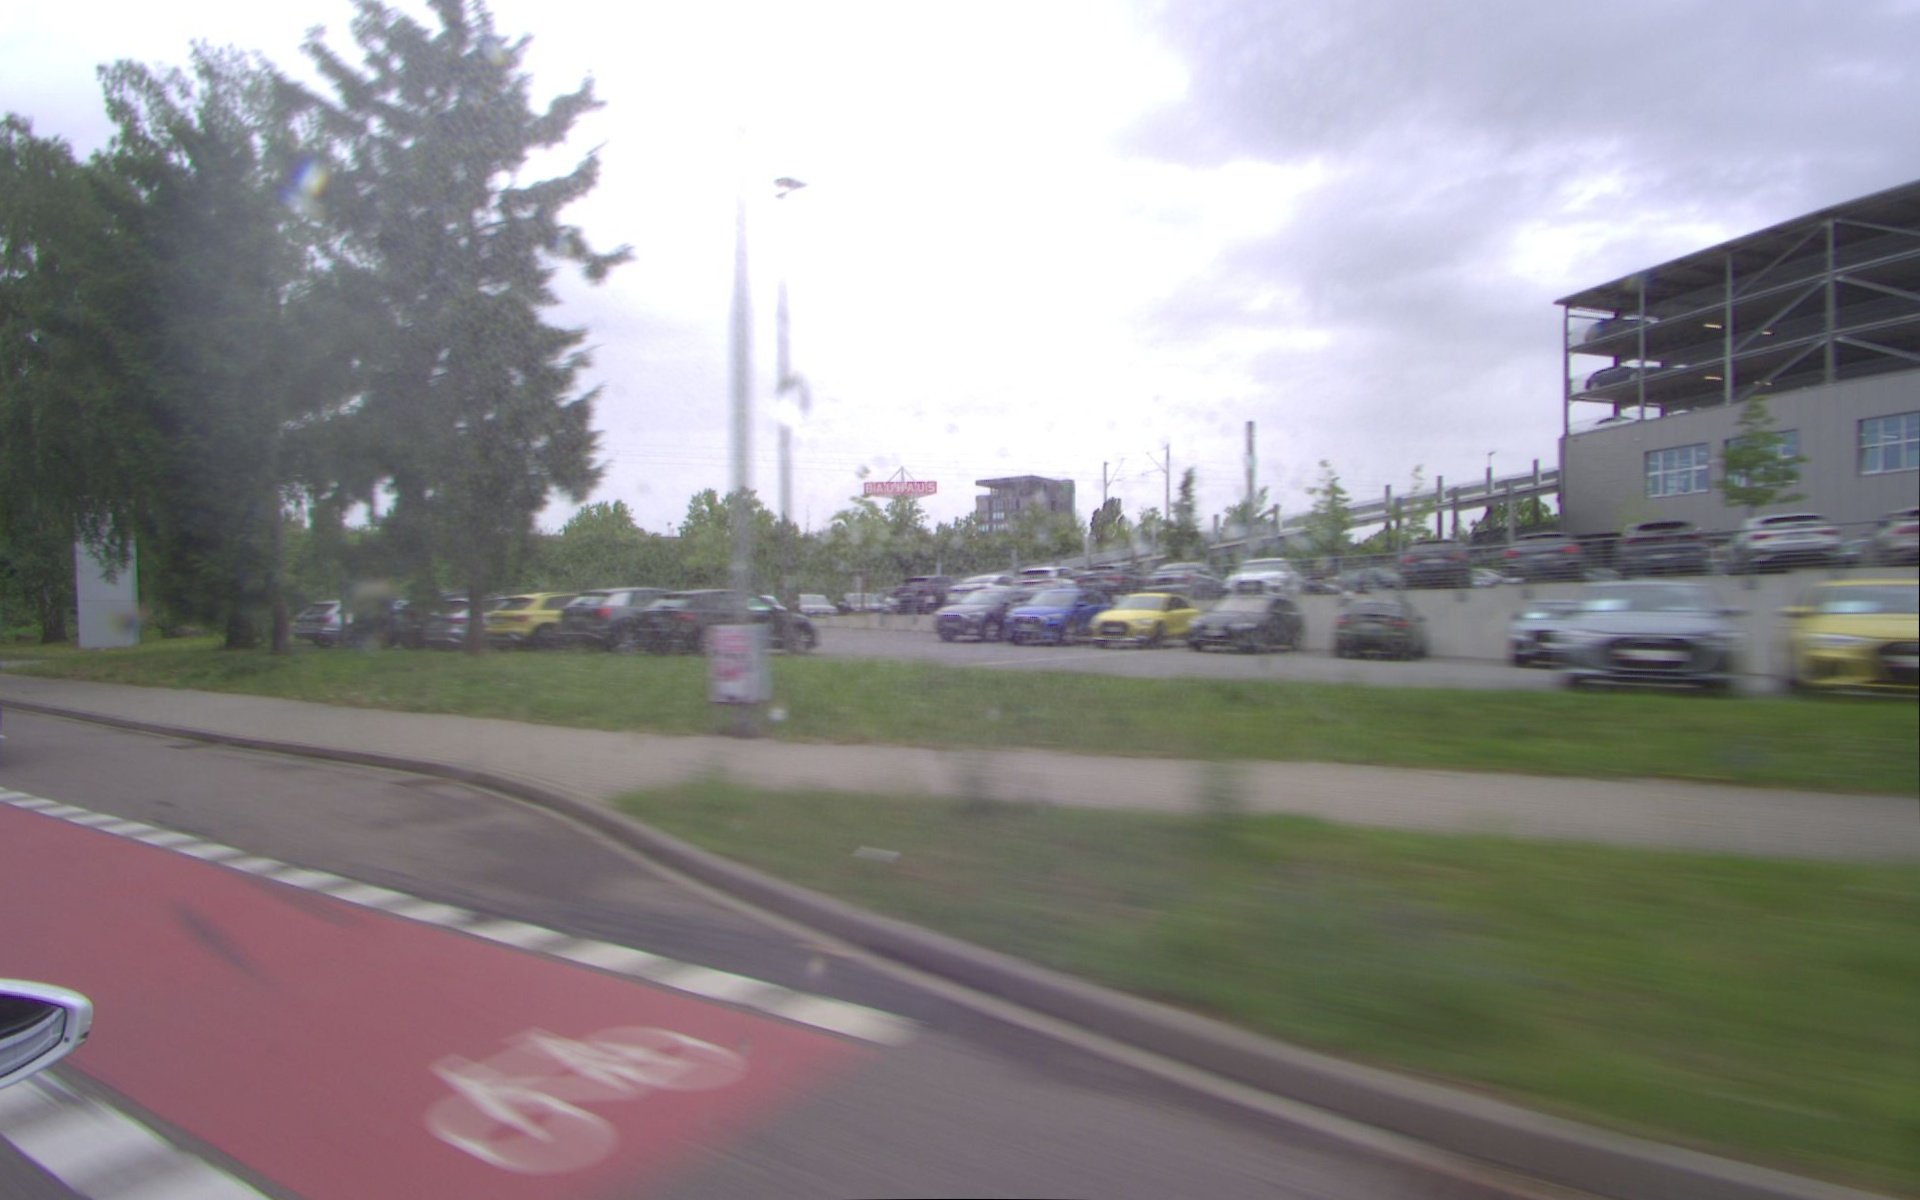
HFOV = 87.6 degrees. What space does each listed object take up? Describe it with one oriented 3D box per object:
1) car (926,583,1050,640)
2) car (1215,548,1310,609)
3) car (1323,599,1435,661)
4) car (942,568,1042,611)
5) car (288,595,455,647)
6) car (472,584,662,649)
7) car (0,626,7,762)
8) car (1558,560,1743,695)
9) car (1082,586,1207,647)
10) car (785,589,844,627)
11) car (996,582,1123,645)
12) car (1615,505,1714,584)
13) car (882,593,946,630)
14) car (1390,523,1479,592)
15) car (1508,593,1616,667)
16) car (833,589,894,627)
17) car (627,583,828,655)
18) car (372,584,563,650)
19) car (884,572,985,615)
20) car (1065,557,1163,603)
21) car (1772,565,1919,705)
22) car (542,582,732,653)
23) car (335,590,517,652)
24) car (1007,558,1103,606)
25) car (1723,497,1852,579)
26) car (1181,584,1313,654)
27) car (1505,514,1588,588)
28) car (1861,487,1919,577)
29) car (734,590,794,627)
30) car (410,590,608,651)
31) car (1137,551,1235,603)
[{"bbox_3d":[0.954,0.341,30.895,1.875,1.622,4.288,1,1,33],"label":"car"},{"bbox_3d":[9.579,-0.607,31.455,1.806,1.554,4.292,0,-3,32],"label":"car"},{"bbox_3d":[10.318,0.676,24.482,1.874,1.346,4.290,1,0,31],"label":"car"},{"bbox_3d":[1.254,-0.341,37.257,1.806,1.306,4.292,0,-3,32],"label":"car"},{"bbox_3d":[-18.427,0.656,31.582,1.713,1.509,4.294,0,-1,28],"label":"car"},{"bbox_3d":[-9.482,0.454,24.447,1.786,1.396,3.985,0,-3,36],"label":"car"},{"bbox_3d":[-12.171,1.007,11.210,3.727,1.450,1.673,-1,-1,38],"label":"car"},{"bbox_3d":[8.867,0.412,12.995,1.715,1.449,4.181,0,-3,34],"label":"car"},{"bbox_3d":[5.130,0.469,27.403,1.875,1.526,4.289,0,-1,33],"label":"car"},{"bbox_3d":[-7.195,0.446,49.167,1.937,1.673,4.301,2,-3,-21],"label":"car"},{"bbox_3d":[2.956,0.371,28.969,1.875,1.648,4.288,2,1,33],"label":"car"},{"bbox_3d":[17.864,-1.322,25.549,1.806,1.530,4.292,0,-3,32],"label":"car"},{"bbox_3d":[-2.387,0.608,50.686,1.937,1.682,4.301,2,-3,-21],"label":"car"},{"bbox_3d":[13.629,-1.127,28.624,1.832,1.546,4.292,0,-3,32],"label":"car"},{"bbox_3d":[13.413,0.716,22.209,1.876,1.477,3.899,0,-3,34],"label":"car"},{"bbox_3d":[-4.841,0.451,49.702,1.937,1.711,4.301,2,-3,-21],"label":"car"},{"bbox_3d":[-4.901,0.460,21.583,1.876,1.370,3.983,0,-3,35],"label":"car"},{"bbox_3d":[-13.426,0.525,27.546,1.943,1.621,4.288,0,-3,35],"label":"car"},{"bbox_3d":[-0.900,-0.204,38.399,1.806,1.391,4.292,0,-3,32],"label":"car"},{"bbox_3d":[5.352,-0.631,34.354,1.806,1.263,4.292,0,-3,32],"label":"car"},{"bbox_3d":[10.757,0.454,11.597,1.771,1.394,4.038,0,-3,34],"label":"car"},{"bbox_3d":[-7.256,0.447,22.789,1.925,1.441,3.746,0,-3,33],"label":"car"},{"bbox_3d":[-15.537,0.667,29.366,1.941,1.621,4.292,0,-3,32],"label":"car"},{"bbox_3d":[3.463,-0.593,35.842,1.675,1.399,4.292,0,-3,32],"label":"car"},{"bbox_3d":[19.936,-1.413,24.315,1.838,1.451,4.292,0,-3,32],"label":"car"},{"bbox_3d":[7.403,0.456,25.580,1.877,1.622,4.284,1,0,36],"label":"car"},{"bbox_3d":[15.893,-1.250,27.057,1.806,1.544,4.292,0,-3,32],"label":"car"},{"bbox_3d":[22.080,-1.495,22.774,1.870,1.611,4.287,0,-3,35],"label":"car"},{"bbox_3d":[-9.551,0.451,48.627,1.875,1.586,4.661,2,-3,-23],"label":"car"},{"bbox_3d":[-11.491,0.587,25.790,1.876,1.400,4.288,0,-3,35],"label":"car"},{"bbox_3d":[7.485,-0.694,32.884,1.806,1.389,4.292,0,-3,32],"label":"car"}]
